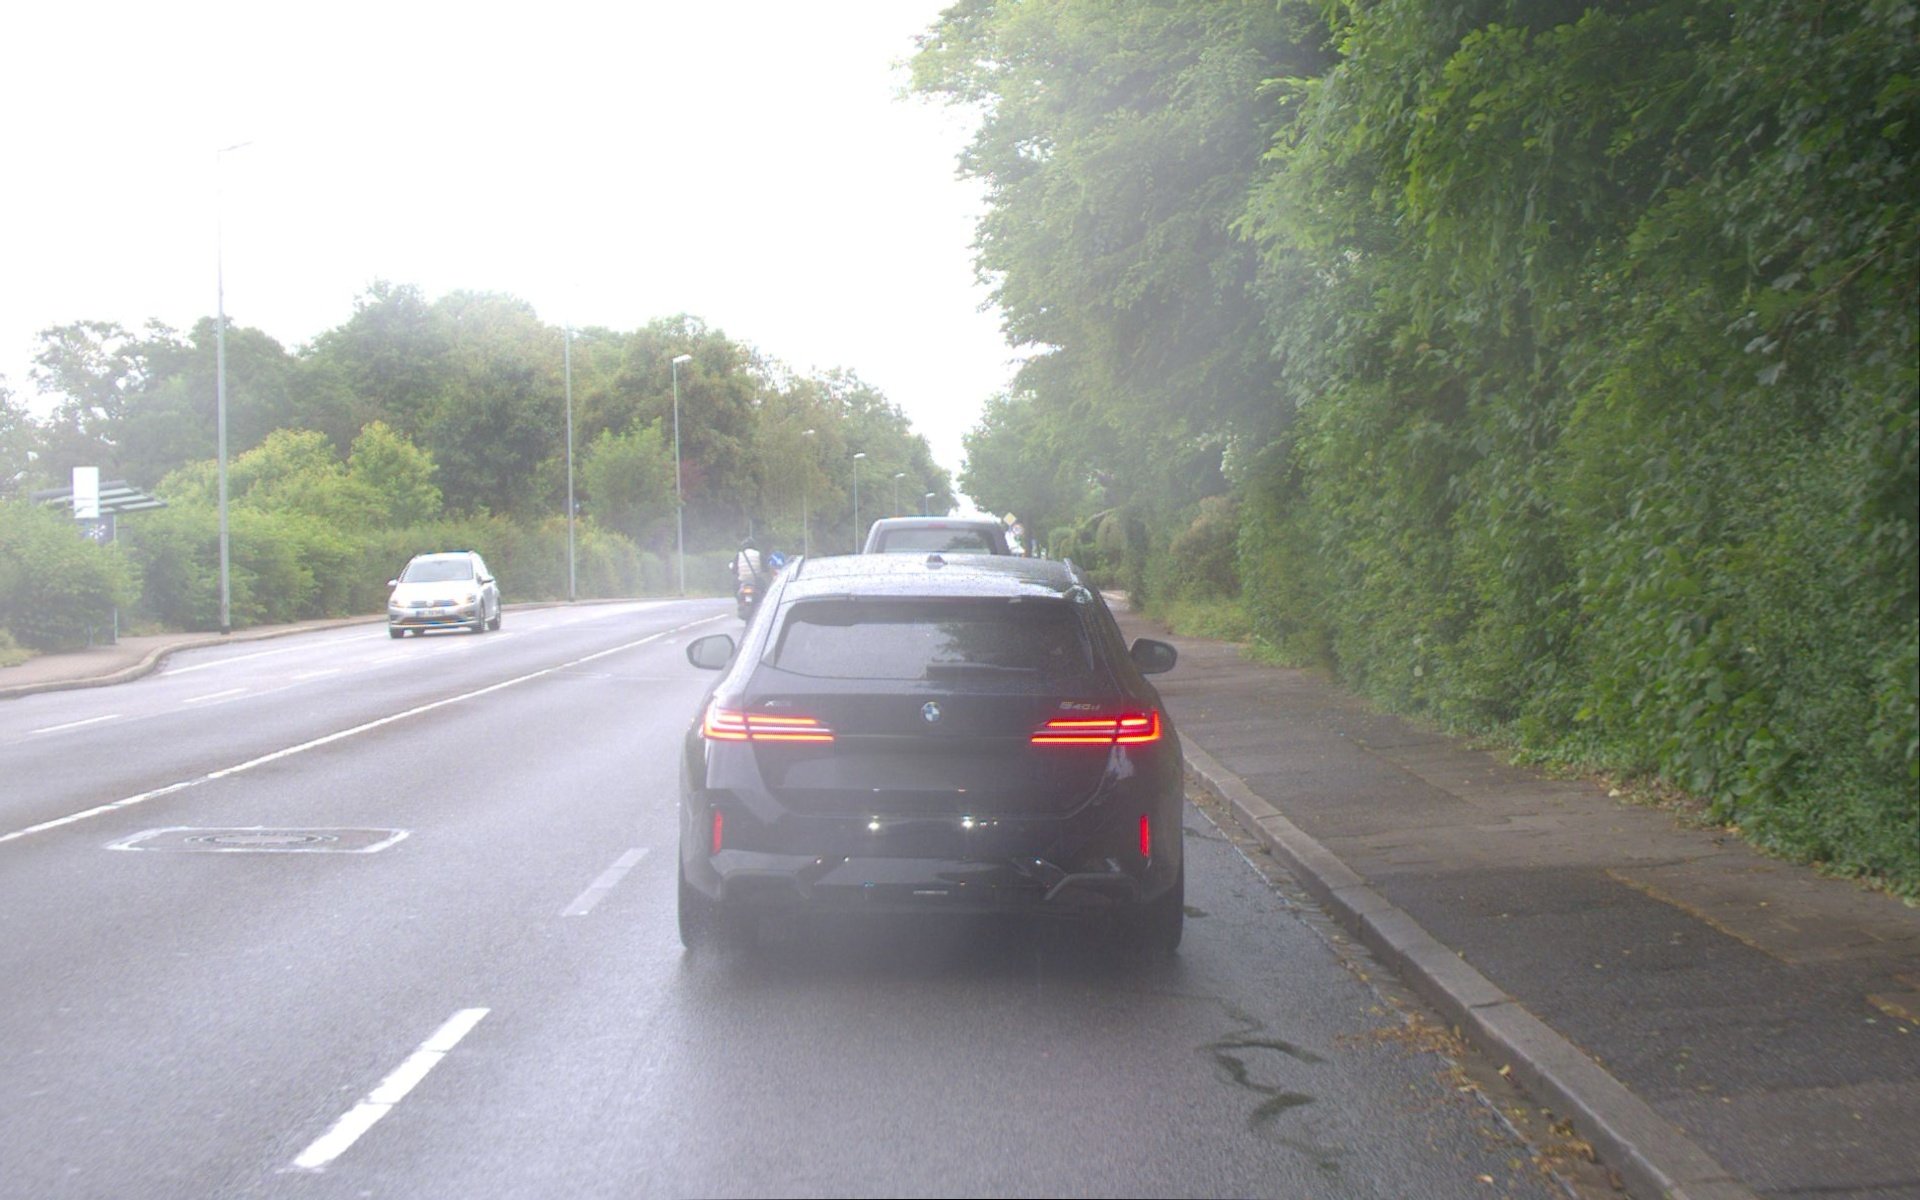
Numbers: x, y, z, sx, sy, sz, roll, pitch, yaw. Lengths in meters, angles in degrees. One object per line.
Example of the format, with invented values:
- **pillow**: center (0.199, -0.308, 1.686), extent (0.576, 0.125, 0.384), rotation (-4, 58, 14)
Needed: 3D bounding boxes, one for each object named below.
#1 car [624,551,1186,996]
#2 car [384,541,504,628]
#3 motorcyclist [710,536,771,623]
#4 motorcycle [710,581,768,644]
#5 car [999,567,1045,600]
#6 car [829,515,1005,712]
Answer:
- **car**: center (-0.153, 0.575, 13.753), extent (1.897, 1.484, 4.000), rotation (1, 0, 1)
- **car**: center (-9.965, -0.320, 66.622), extent (1.756, 1.563, 4.000), rotation (-2, 1, -2)
- **motorcyclist**: center (-4.033, -0.379, 63.117), extent (1.039, 1.562, 0.855), rotation (1, 0, 0)
- **motorcycle**: center (-4.054, 0.232, 63.204), extent (0.876, 1.120, 2.741), rotation (1, 0, 0)
- **car**: center (2.852, -0.745, 157.055), extent (1.935, 1.437, 4.407), rotation (-2, 0, 3)
- **car**: center (-0.409, 0.098, 34.717), extent (1.629, 1.827, 4.000), rotation (-2, 1, 0)
